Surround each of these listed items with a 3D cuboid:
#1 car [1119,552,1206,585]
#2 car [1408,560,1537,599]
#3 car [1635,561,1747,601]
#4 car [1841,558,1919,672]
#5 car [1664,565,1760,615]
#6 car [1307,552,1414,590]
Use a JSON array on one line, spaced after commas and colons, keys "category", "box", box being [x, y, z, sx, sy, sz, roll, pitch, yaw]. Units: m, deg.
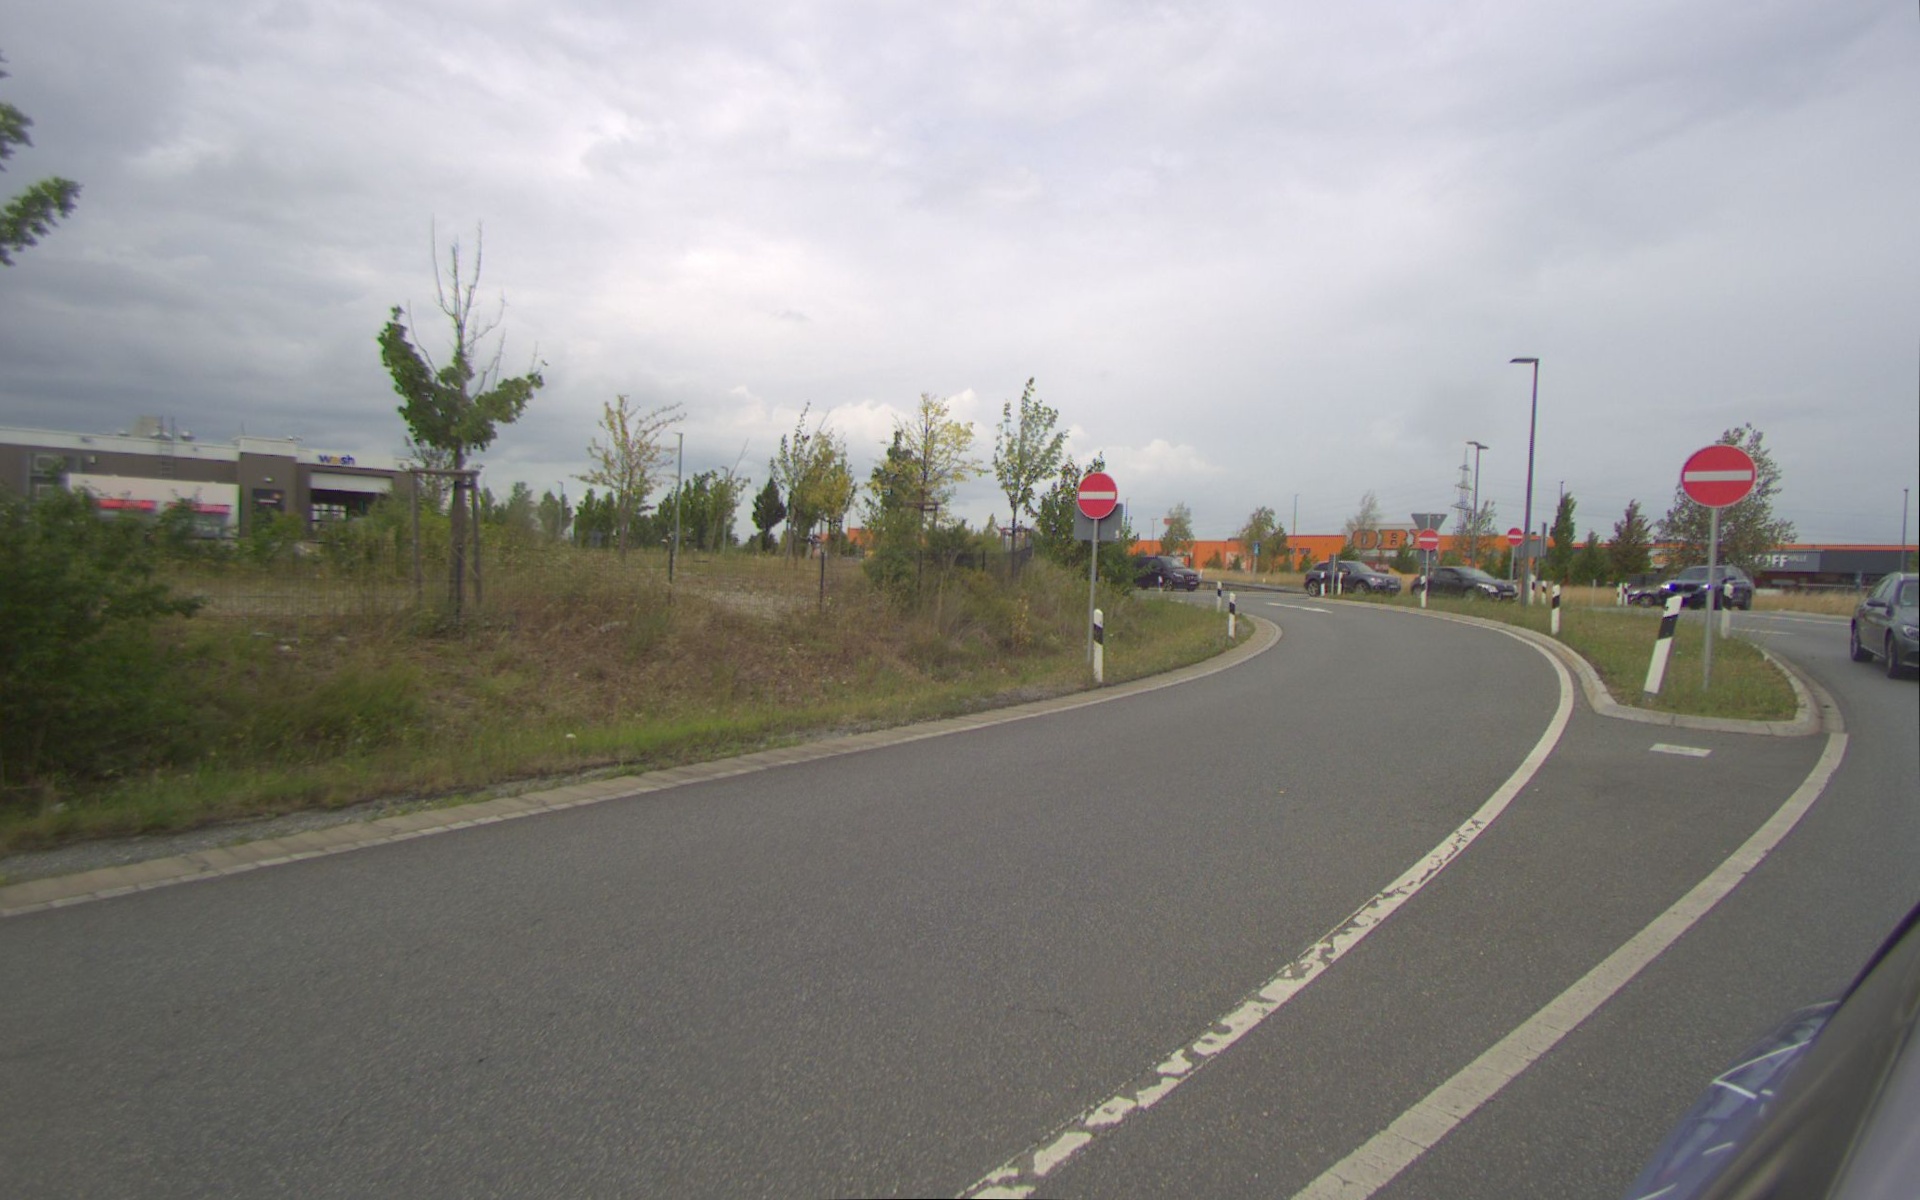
[{"category": "car", "box": [10.871, -1.719, 54.691, 1.690, 1.742, 4.745, -1, 2, -36]}, {"category": "car", "box": [19.143, -0.802, 37.996, 1.805, 1.387, 4.155, 0, 2, -20]}, {"category": "car", "box": [33.540, -0.899, 46.594, 3.969, 1.678, 1.978, 2, 2, 32]}, {"category": "car", "box": [14.657, 0.185, 14.814, 1.893, 1.515, 4.291, 3, 3, 31]}, {"category": "car", "box": [27.869, -0.334, 37.492, 3.926, 1.741, 1.842, 1, -1, -37]}, {"category": "car", "box": [17.777, -1.296, 45.129, 1.846, 1.602, 4.284, 0, 2, -27]}]
